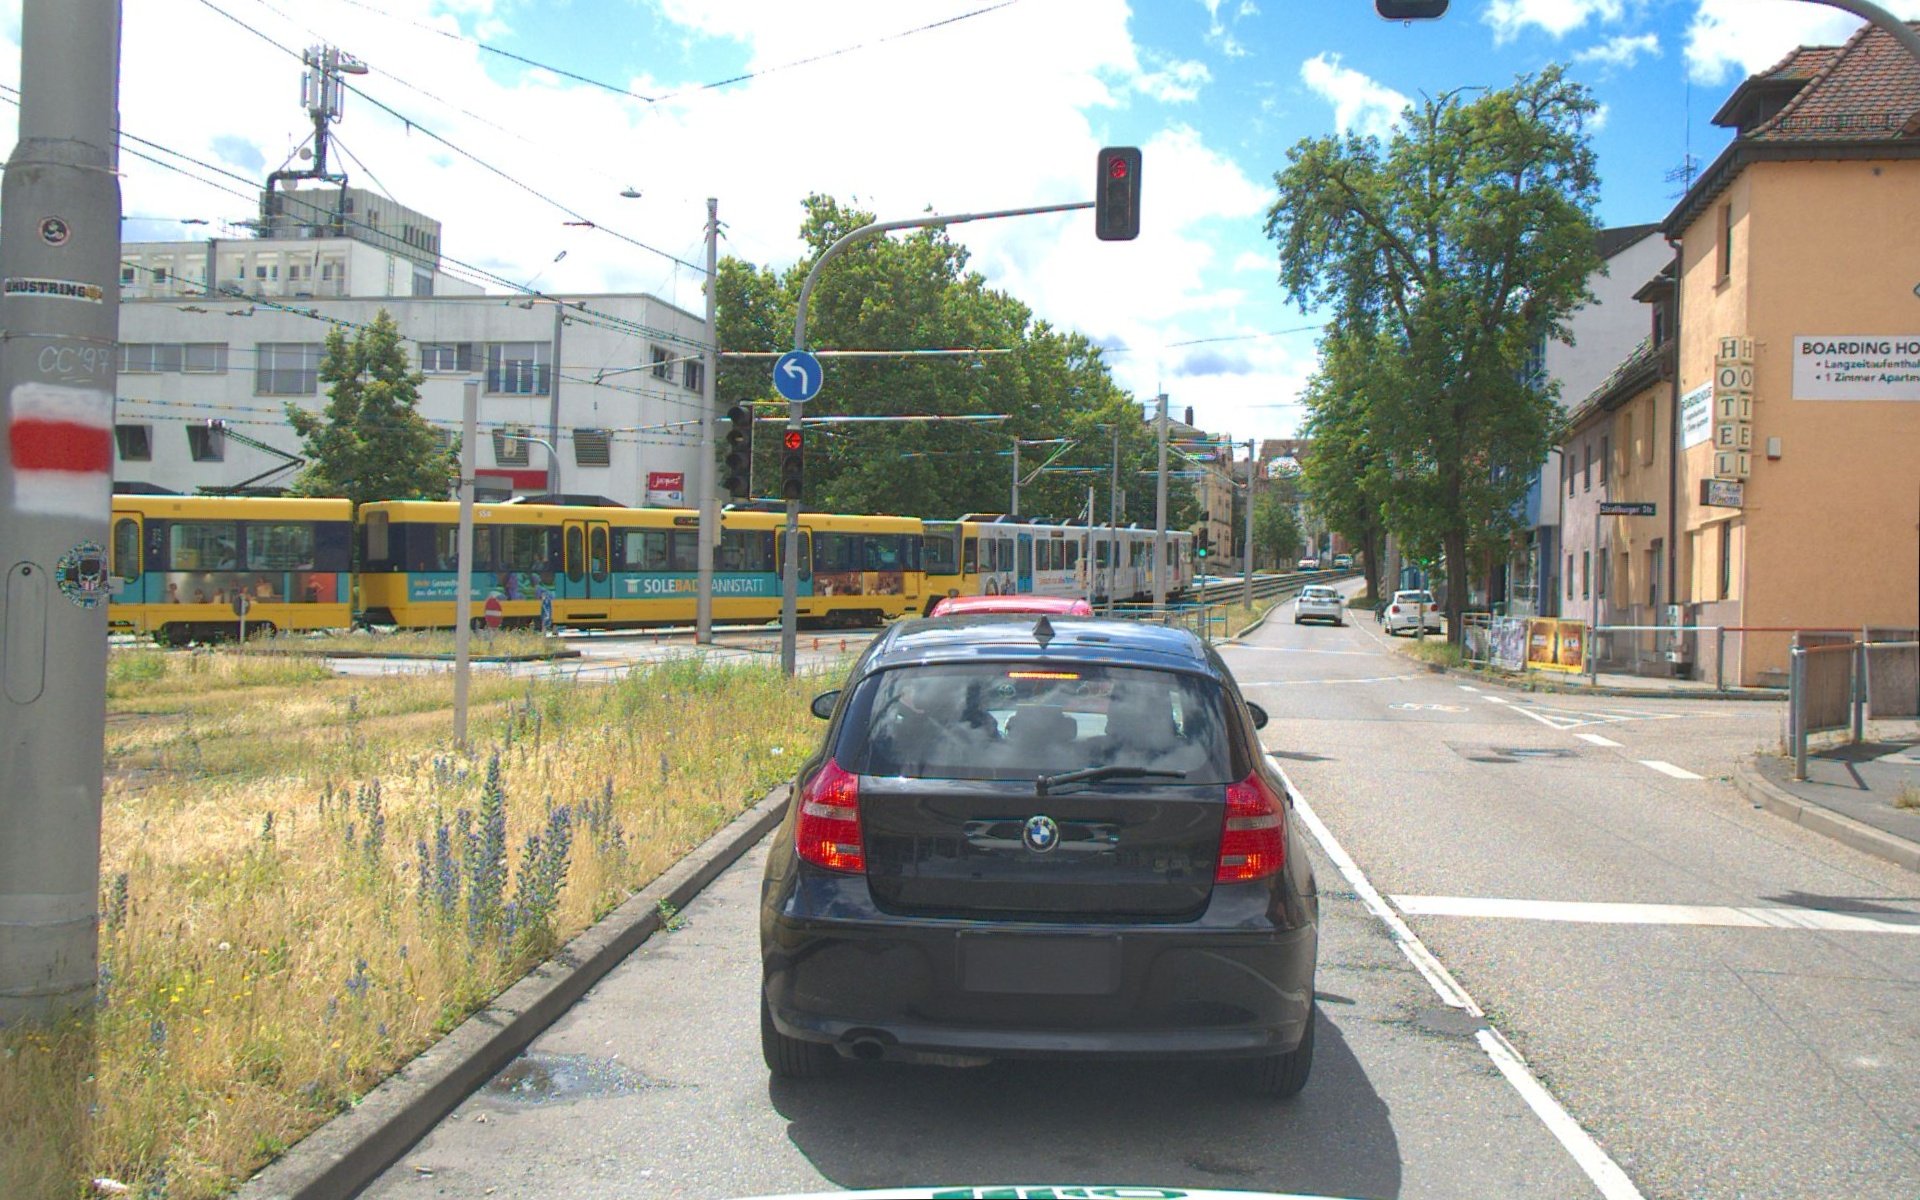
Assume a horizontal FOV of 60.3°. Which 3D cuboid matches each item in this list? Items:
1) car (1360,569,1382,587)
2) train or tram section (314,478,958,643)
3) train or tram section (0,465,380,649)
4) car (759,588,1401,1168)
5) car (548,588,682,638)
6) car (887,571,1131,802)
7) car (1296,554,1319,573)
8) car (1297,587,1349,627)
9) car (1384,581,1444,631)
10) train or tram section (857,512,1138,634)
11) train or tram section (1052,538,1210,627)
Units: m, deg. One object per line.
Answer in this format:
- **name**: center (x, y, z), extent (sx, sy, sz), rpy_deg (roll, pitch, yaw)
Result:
- **car**: center (36.268, -1.958, 145.898), extent (1.777, 1.494, 4.003), rpy_deg (3, 1, 15)
- **train or tram section**: center (-8.202, -0.883, 47.842), extent (3.696, 3.896, 20.019), rpy_deg (-1, -1, 43)
- **train or tram section**: center (-22.943, -0.917, 36.994), extent (18.600, 3.988, 3.730), rpy_deg (0, -1, -26)
- **car**: center (0.219, 0.731, 6.289), extent (1.667, 1.477, 3.997), rpy_deg (0, -1, -3)
- **car**: center (-11.675, 0.439, 56.122), extent (4.138, 1.613, 1.828), rpy_deg (0, -1, -44)
- **car**: center (0.511, 0.588, 12.843), extent (1.590, 1.499, 4.002), rpy_deg (0, -1, 6)
- **car**: center (39.571, -4.163, 188.421), extent (1.952, 2.049, 4.000), rpy_deg (-1, -1, 21)
- **car**: center (14.158, 0.238, 64.653), extent (1.776, 1.494, 4.004), rpy_deg (0, 0, 9)
- **car**: center (15.423, 0.213, 56.284), extent (1.749, 1.624, 4.003), rpy_deg (0, -1, 12)
- **train or tram section**: center (2.194, -0.792, 64.078), extent (3.673, 3.947, 20.630), rpy_deg (-1, -1, 23)
- **train or tram section**: center (8.972, -0.676, 82.626), extent (3.670, 3.881, 20.059), rpy_deg (-1, -1, 18)
